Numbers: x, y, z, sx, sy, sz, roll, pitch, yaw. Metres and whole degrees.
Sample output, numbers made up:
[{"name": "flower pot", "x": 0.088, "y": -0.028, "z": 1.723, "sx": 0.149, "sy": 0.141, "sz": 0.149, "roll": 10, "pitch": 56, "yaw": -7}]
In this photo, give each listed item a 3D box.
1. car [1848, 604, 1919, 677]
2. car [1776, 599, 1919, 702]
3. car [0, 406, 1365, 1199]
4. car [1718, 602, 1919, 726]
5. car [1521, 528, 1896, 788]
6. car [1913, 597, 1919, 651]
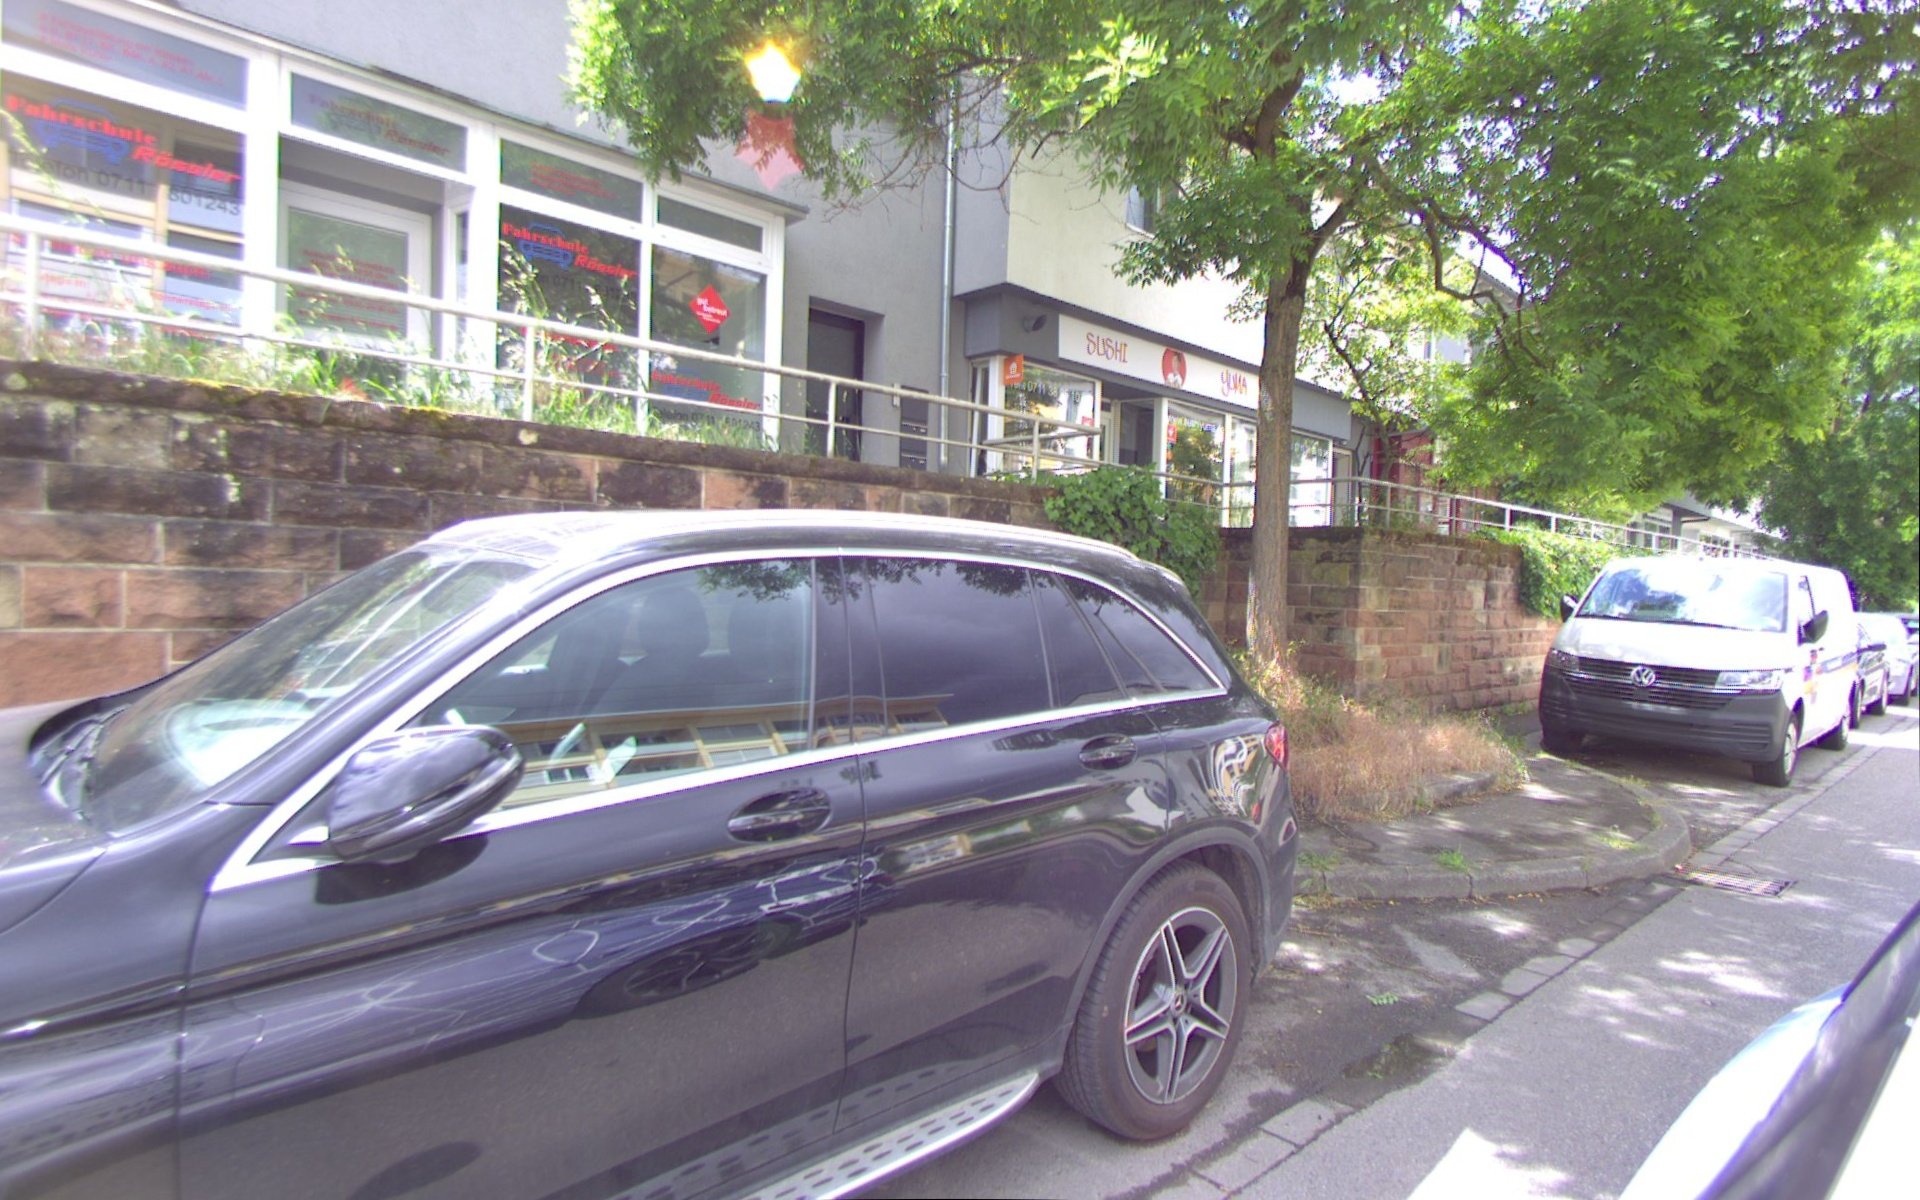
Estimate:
[{"name": "car", "x": 20.833, "y": 0.850, "z": 21.983, "sx": 4.075, "sy": 1.446, "sz": 1.783, "roll": 1, "pitch": 1, "yaw": -41}, {"name": "car", "x": 15.599, "y": 0.779, "z": 17.454, "sx": 4.076, "sy": 1.445, "sz": 1.783, "roll": 0, "pitch": 4, "yaw": -44}, {"name": "car", "x": -0.977, "y": 0.549, "z": 2.428, "sx": 4.370, "sy": 1.637, "sz": 1.793, "roll": 0, "pitch": 3, "yaw": -42}, {"name": "car", "x": 11.955, "y": 0.781, "z": 14.012, "sx": 3.669, "sy": 1.446, "sz": 1.577, "roll": 0, "pitch": 1, "yaw": -41}, {"name": "car", "x": 7.657, "y": 0.431, "z": 10.135, "sx": 4.925, "sy": 1.994, "sz": 1.977, "roll": 0, "pitch": 1, "yaw": -41}, {"name": "car", "x": 31.826, "y": 0.780, "z": 32.279, "sx": 4.078, "sy": 1.674, "sz": 1.816, "roll": 0, "pitch": 1, "yaw": -43}]
